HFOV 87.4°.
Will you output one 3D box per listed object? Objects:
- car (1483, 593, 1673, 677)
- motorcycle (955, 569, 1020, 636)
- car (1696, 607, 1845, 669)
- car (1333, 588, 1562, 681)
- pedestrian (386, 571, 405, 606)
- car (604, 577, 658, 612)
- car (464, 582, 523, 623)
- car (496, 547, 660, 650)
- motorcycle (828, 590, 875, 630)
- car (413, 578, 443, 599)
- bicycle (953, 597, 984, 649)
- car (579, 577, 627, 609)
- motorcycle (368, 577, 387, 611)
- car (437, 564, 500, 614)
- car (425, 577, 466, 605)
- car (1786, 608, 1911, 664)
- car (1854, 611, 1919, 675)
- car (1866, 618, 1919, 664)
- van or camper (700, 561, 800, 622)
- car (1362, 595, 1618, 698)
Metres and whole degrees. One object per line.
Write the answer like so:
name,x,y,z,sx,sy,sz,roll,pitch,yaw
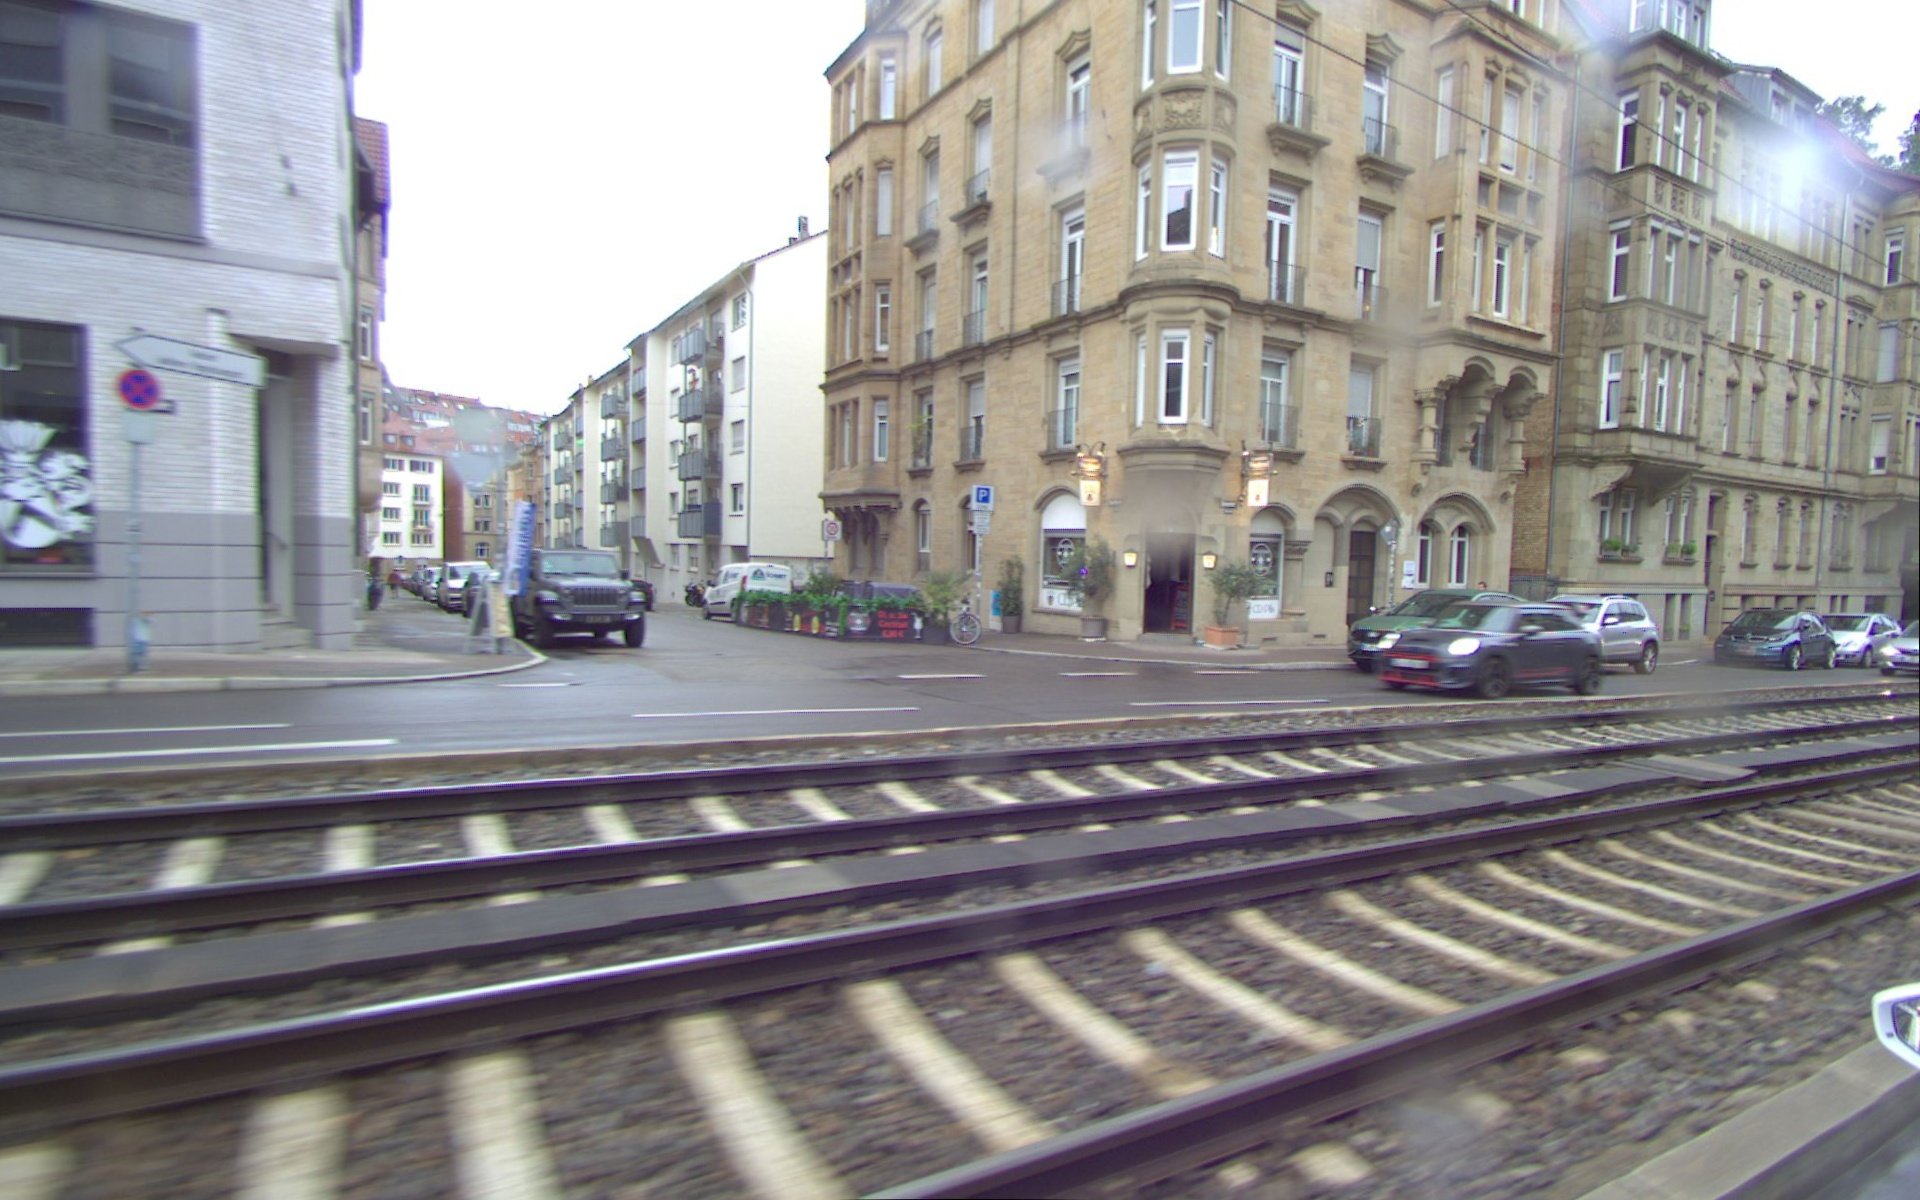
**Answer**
car,13.635,0.744,22.100,4.268,1.674,1.848,2,1,-32
motorcycle,0.687,0.061,25.863,0.616,1.641,2.063,1,0,-32
car,22.199,1.024,27.483,4.122,1.528,1.861,2,0,-31
car,9.580,0.654,19.677,4.376,1.623,1.850,2,0,-29
pedestrian,-33.340,-0.657,59.325,0.892,2.040,0.756,1,1,-32
car,-15.548,-0.273,47.404,1.646,1.557,3.418,1,0,-32
car,-15.039,0.073,32.294,1.414,1.240,3.496,1,0,-30
car,-7.561,-0.092,19.575,2.013,1.751,4.663,1,1,-33
motorcycle,-3.580,0.312,33.017,0.699,1.247,2.064,1,0,-31
car,-37.817,-0.825,71.324,1.686,1.409,4.424,1,0,-31
bicycle,0.183,0.522,23.187,0.608,1.134,2.136,1,0,-1
car,-18.470,-0.349,51.900,1.646,1.557,3.418,1,0,-32
motorcycle,-22.183,-0.229,38.211,0.592,1.248,2.015,1,1,-31
car,-20.288,-0.444,41.368,1.927,1.895,4.759,1,0,-31
car,-27.846,-0.472,54.321,1.686,1.409,4.424,1,0,-31
car,26.514,1.068,29.967,3.810,1.544,1.686,2,0,-31
car,24.362,1.067,25.049,4.247,1.476,1.970,2,0,-32
car,31.682,1.343,33.000,4.222,1.417,1.753,1,0,-32
van or camper,-6.777,-0.250,32.152,1.921,1.799,3.931,1,0,-32
car,8.215,0.684,15.552,3.734,1.406,1.697,2,1,-28
